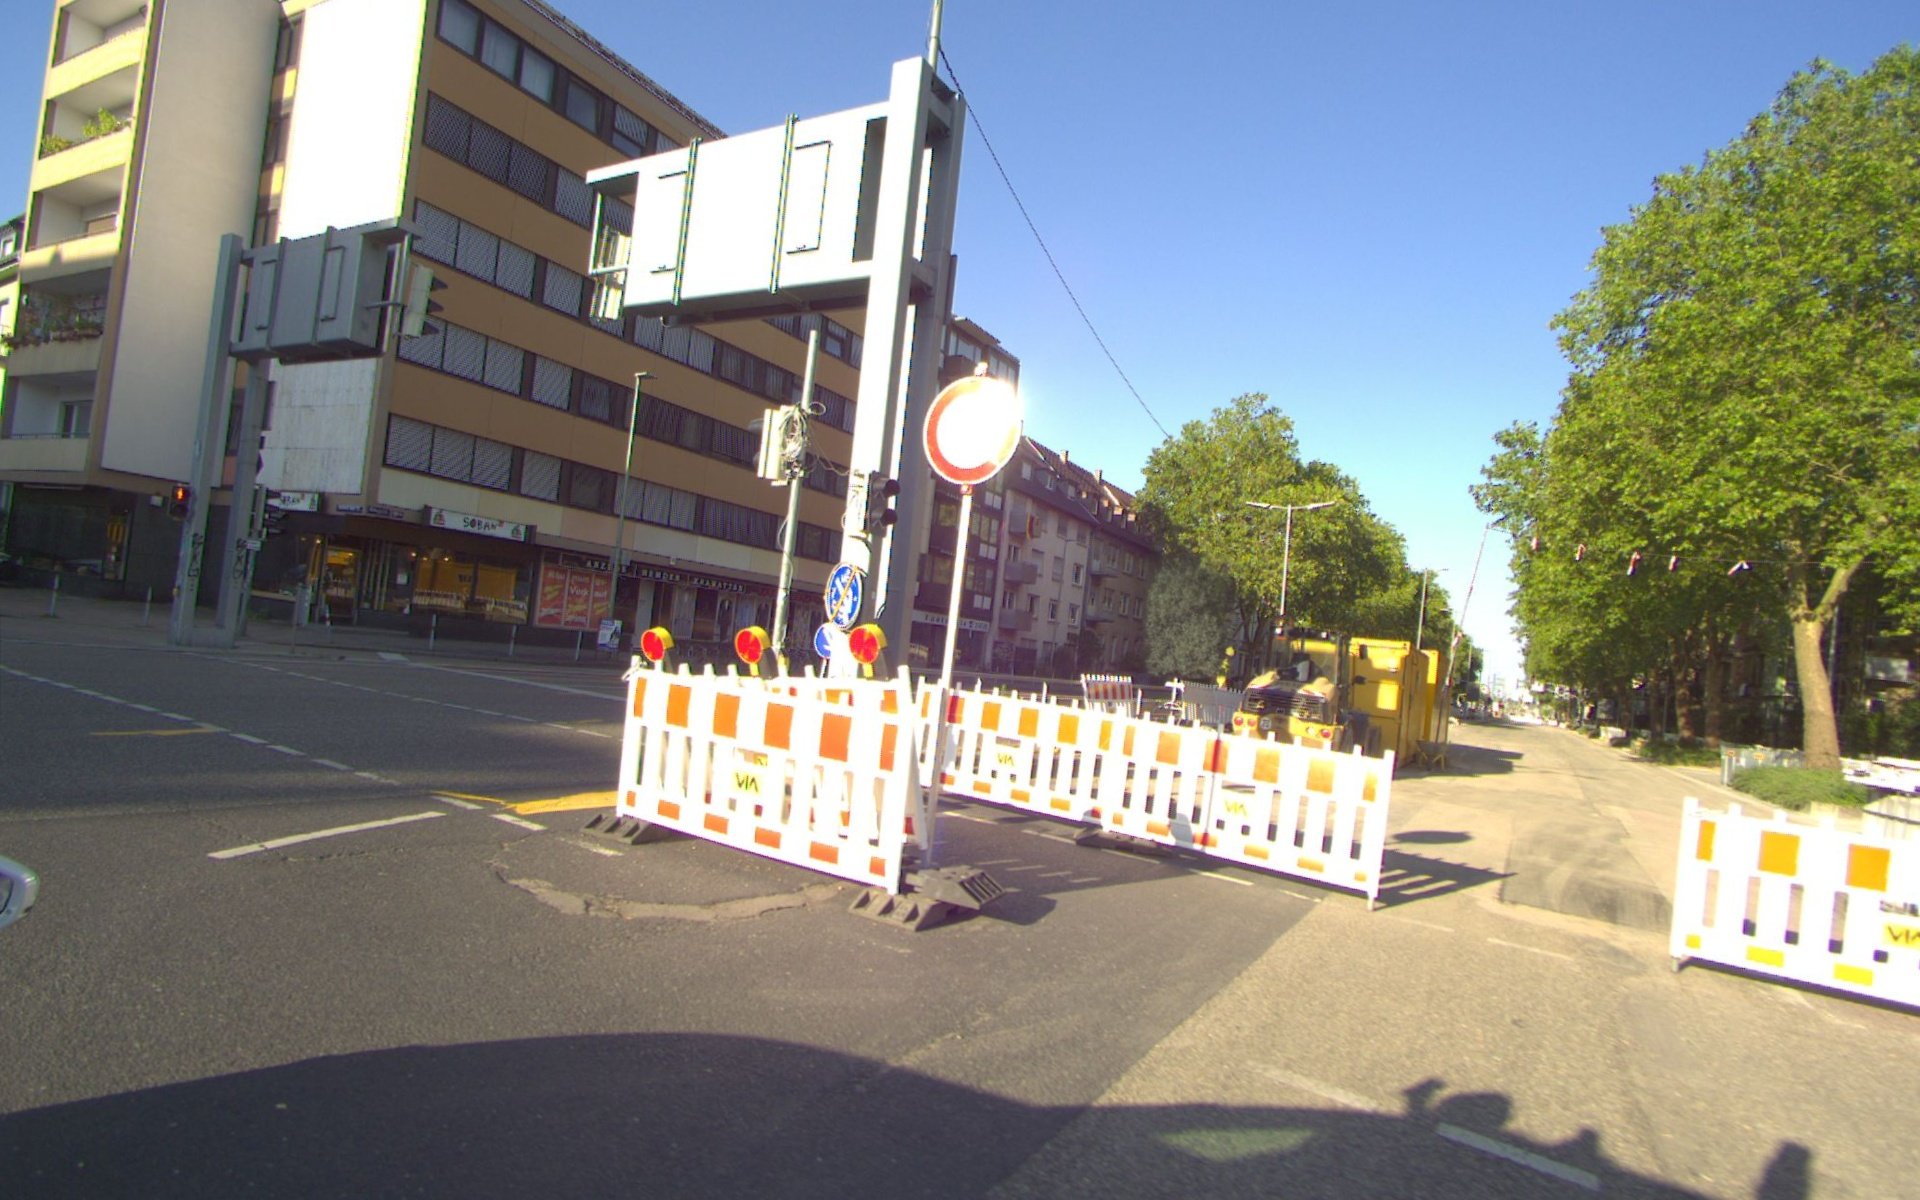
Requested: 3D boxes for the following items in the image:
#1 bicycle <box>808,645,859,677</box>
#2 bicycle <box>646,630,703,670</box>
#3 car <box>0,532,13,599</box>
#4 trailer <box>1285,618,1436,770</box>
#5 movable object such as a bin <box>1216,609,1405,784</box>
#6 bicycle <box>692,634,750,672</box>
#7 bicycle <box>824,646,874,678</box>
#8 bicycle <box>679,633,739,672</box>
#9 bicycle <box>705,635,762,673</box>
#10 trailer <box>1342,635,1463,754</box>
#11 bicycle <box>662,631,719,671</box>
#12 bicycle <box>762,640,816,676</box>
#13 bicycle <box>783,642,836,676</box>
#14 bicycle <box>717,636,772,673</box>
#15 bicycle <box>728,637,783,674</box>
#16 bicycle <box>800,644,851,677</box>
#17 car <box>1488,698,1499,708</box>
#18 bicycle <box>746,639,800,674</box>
[{"bbox_3d":[-5.153,2.482,40.945,1.972,1.109,0.528,5,-2,25],"label":"bicycle"},{"bbox_3d":[-9.416,1.630,33.183,1.975,1.109,0.527,5,-2,32],"label":"bicycle"},{"bbox_3d":[-28.517,-1.213,26.966,1.831,1.835,4.096,5,-3,31],"label":"car"},{"bbox_3d":[9.681,2.215,23.895,2.498,2.900,6.127,5,-3,28],"label":"trailer"},{"bbox_3d":[6.645,1.791,18.623,1.968,2.623,5.207,5,-3,32],"label":"movable object such as a bin"},{"bbox_3d":[-8.348,1.842,35.093,1.972,1.109,0.528,5,-2,25],"label":"bicycle"},{"bbox_3d":[-4.625,2.589,41.947,1.972,1.109,0.528,5,-2,25],"label":"bicycle"},{"bbox_3d":[-8.624,1.785,34.541,1.972,1.109,0.528,5,-2,25],"label":"bicycle"},{"bbox_3d":[-8.013,1.904,35.602,1.972,1.109,0.528,5,-2,25],"label":"bicycle"},{"bbox_3d":[13.617,2.909,30.705,2.367,3.050,6.122,5,-3,31],"label":"trailer"},{"bbox_3d":[-9.061,1.699,33.780,1.975,1.109,0.527,5,-2,32],"label":"bicycle"},{"bbox_3d":[-6.480,2.200,38.159,1.972,1.109,0.528,5,-2,25],"label":"bicycle"},{"bbox_3d":[-5.904,2.326,39.457,1.972,1.109,0.528,5,-2,25],"label":"bicycle"},{"bbox_3d":[-7.768,1.961,36.222,1.972,1.109,0.528,5,-2,27],"label":"bicycle"},{"bbox_3d":[-7.464,2.021,36.760,1.972,1.109,0.528,5,-2,27],"label":"bicycle"},{"bbox_3d":[-5.399,2.424,40.316,1.972,1.109,0.528,5,-2,25],"label":"bicycle"},{"bbox_3d":[109.381,21.111,206.226,1.741,1.725,3.997,5,-3,29],"label":"car"},{"bbox_3d":[-7.003,2.115,37.639,1.972,1.109,0.528,5,-2,25],"label":"bicycle"}]
